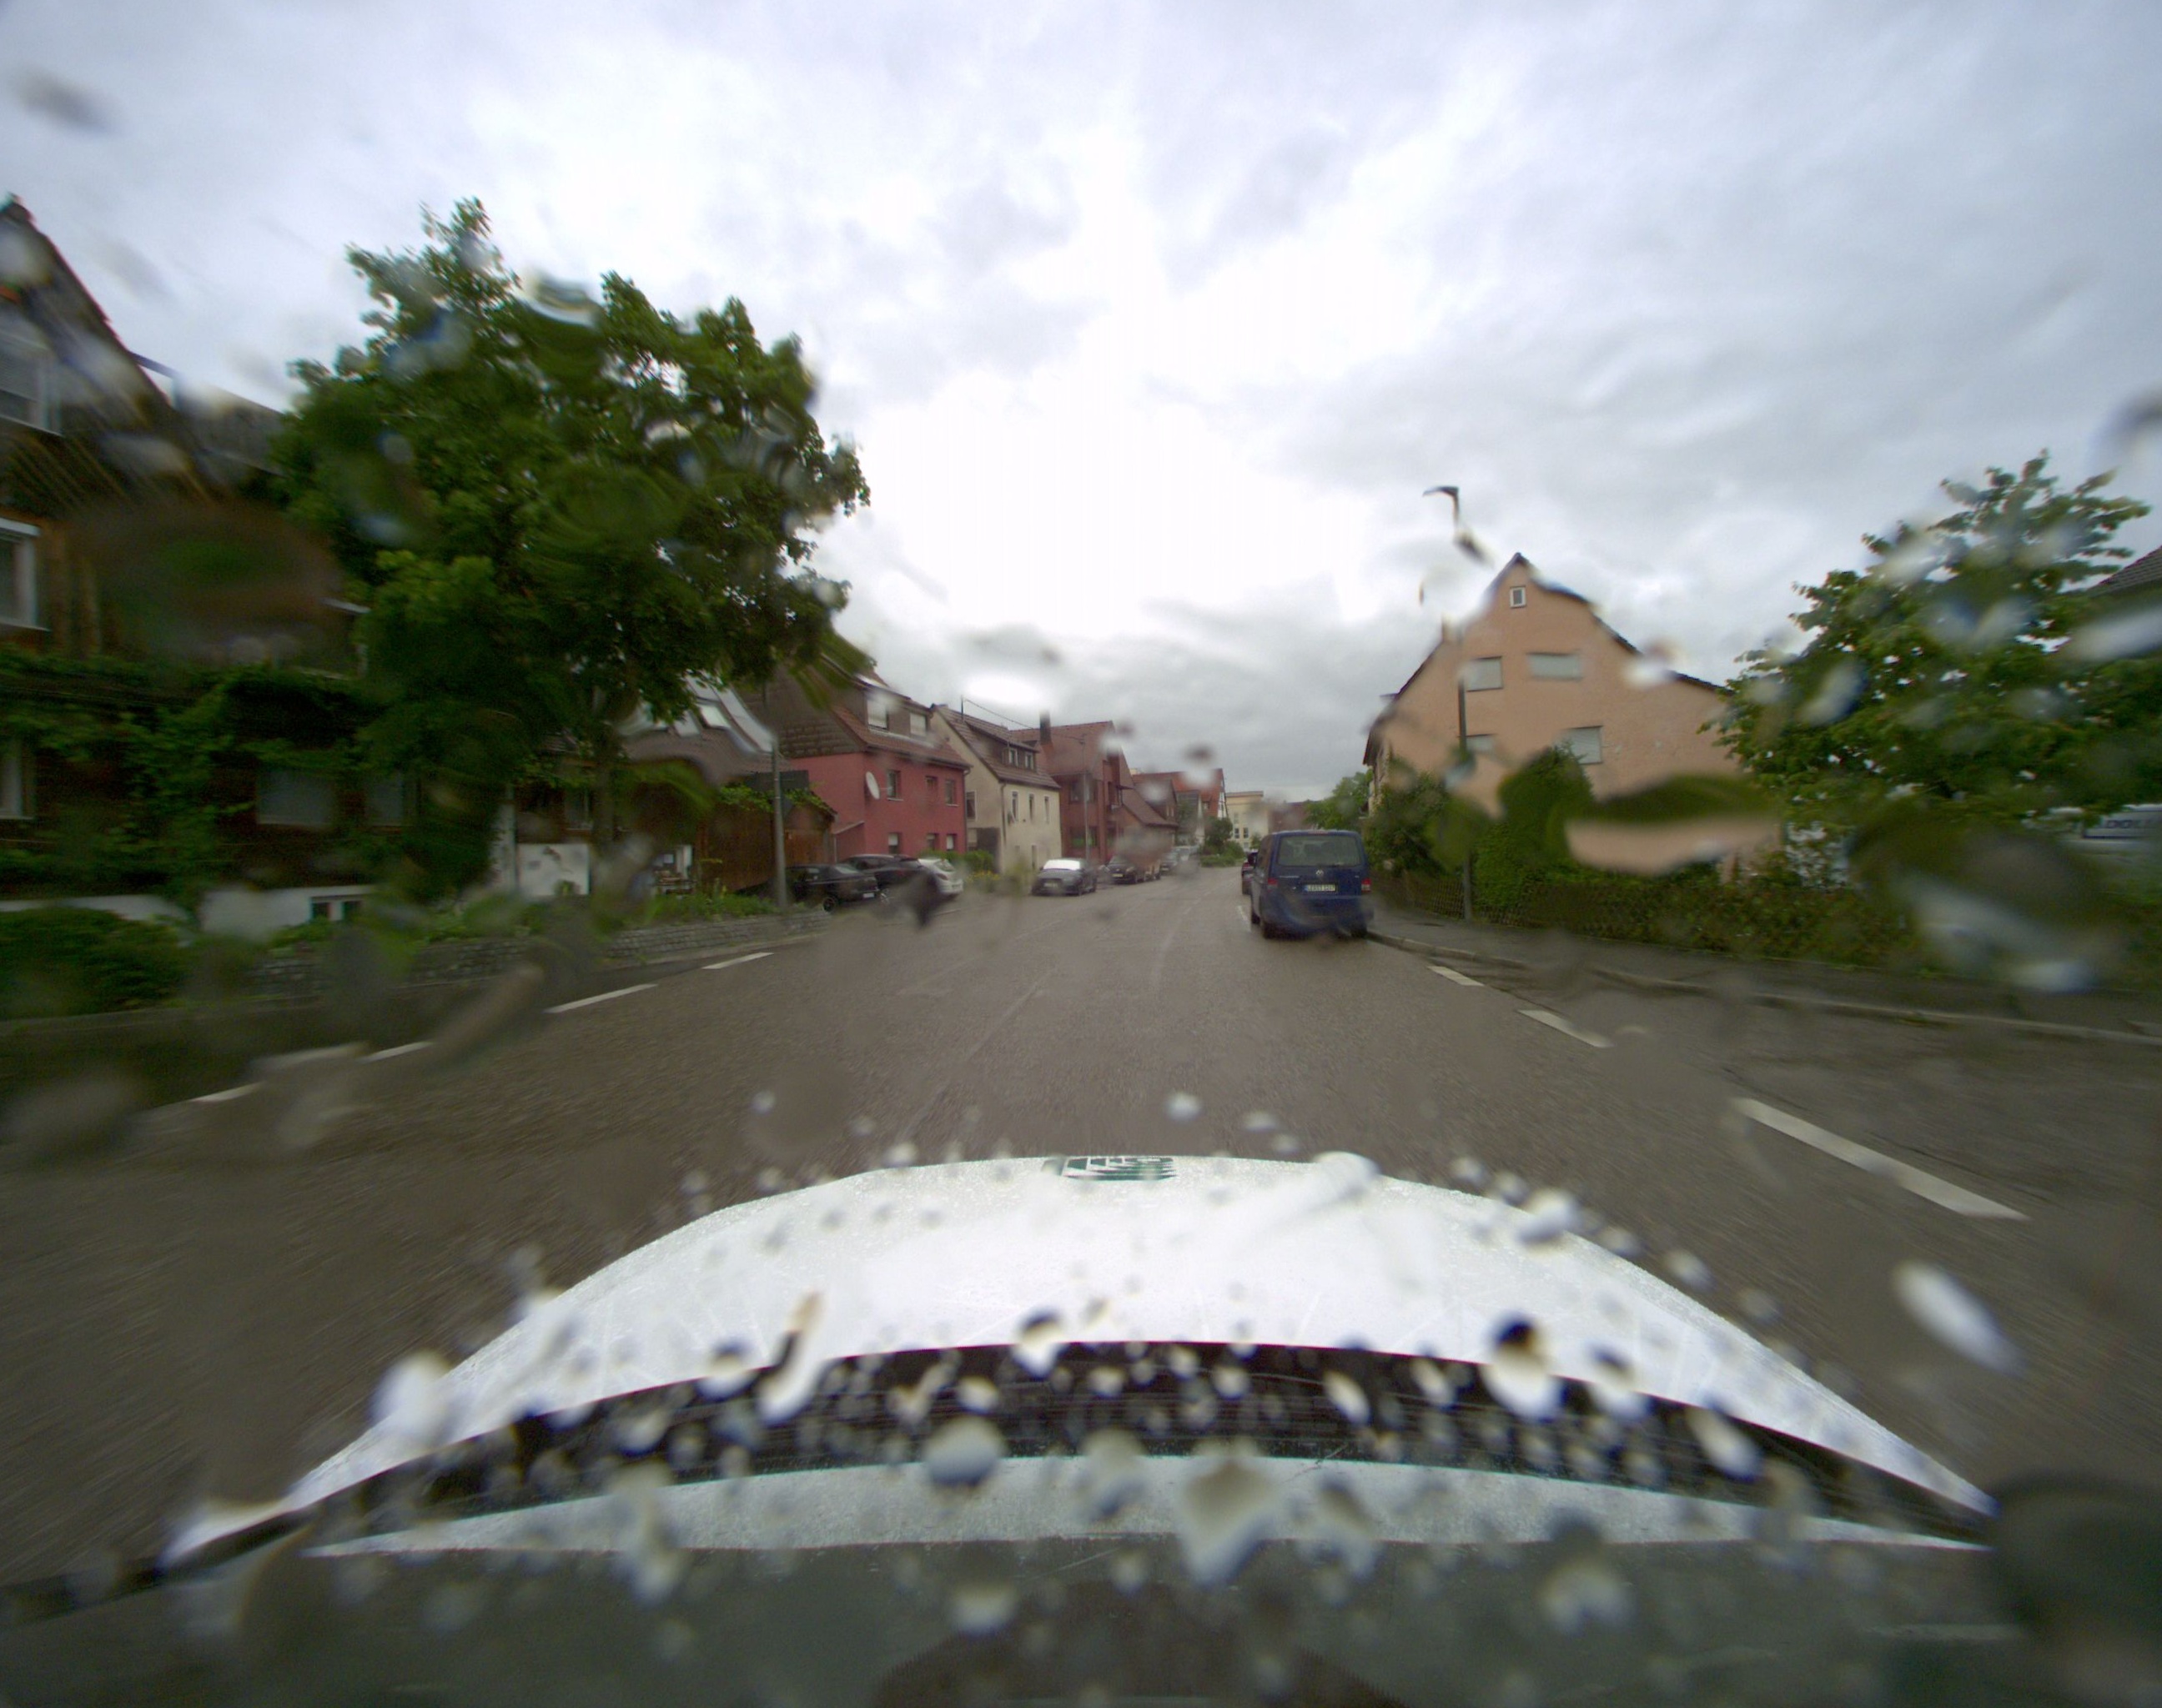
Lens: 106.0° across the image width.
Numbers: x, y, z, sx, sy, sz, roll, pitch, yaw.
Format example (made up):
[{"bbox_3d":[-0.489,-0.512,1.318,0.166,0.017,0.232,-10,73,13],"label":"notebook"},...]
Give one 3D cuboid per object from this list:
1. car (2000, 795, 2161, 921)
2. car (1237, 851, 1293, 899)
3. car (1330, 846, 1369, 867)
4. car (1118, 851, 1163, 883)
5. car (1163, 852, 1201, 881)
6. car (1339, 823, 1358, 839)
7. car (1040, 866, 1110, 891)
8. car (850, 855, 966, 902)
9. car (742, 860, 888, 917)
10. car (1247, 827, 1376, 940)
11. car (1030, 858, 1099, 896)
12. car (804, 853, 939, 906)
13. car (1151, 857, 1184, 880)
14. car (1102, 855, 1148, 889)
[{"bbox_3d":[18.857,0.060,13.310,1.938,2.083,5.187,-1,0,2],"label":"car"},{"bbox_3d":[7.207,0.748,31.570,1.894,1.717,4.574,0,0,15],"label":"car"},{"bbox_3d":[22.560,0.215,68.404,1.742,1.394,4.026,-10,-4,38],"label":"car"},{"bbox_3d":[3.417,0.723,45.755,1.752,1.619,4.672,-2,-1,13],"label":"car"},{"bbox_3d":[7.471,0.873,59.839,1.807,2.014,5.238,-2,-1,18],"label":"car"},{"bbox_3d":[27.070,-2.274,82.431,1.624,1.430,3.696,-3,-1,21],"label":"car"},{"bbox_3d":[-0.420,1.609,53.254,4.136,1.403,1.798,-3,-1,22],"label":"car"},{"bbox_3d":[-5.793,0.812,27.304,3.434,1.479,1.597,-1,-1,17],"label":"car"},{"bbox_3d":[-7.261,0.931,22.326,3.419,1.418,1.640,-2,-1,16],"label":"car"},{"bbox_3d":[4.393,0.519,16.202,1.919,1.902,4.805,0,-1,9],"label":"car"},{"bbox_3d":[-0.558,0.850,31.426,1.615,1.356,4.126,0,0,14],"label":"car"},{"bbox_3d":[-6.405,0.734,25.038,3.546,1.506,1.864,0,0,18],"label":"car"},{"bbox_3d":[5.881,0.950,55.055,1.566,1.497,3.582,-2,-1,15],"label":"car"},{"bbox_3d":[2.271,0.898,41.321,1.593,1.618,3.290,-2,-1,15],"label":"car"}]
